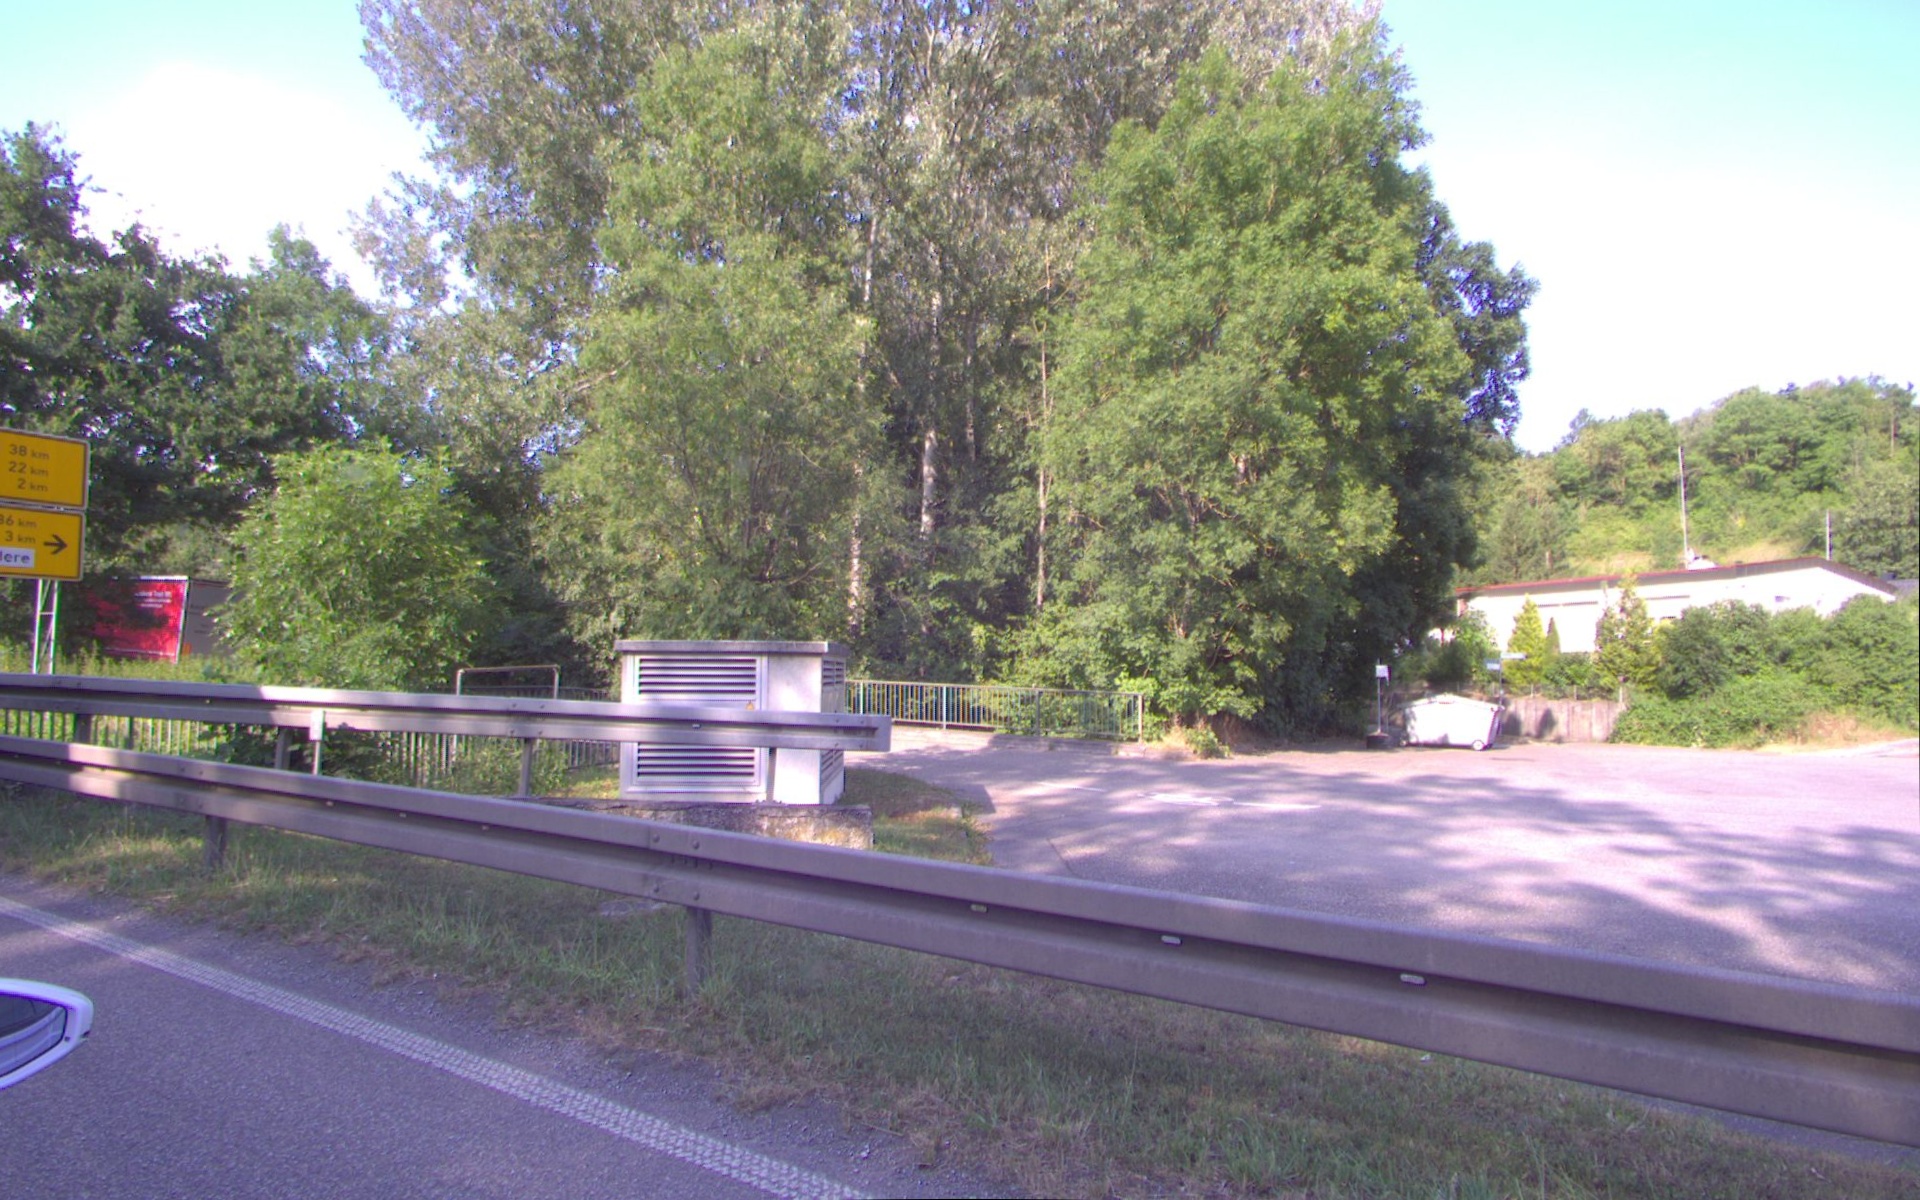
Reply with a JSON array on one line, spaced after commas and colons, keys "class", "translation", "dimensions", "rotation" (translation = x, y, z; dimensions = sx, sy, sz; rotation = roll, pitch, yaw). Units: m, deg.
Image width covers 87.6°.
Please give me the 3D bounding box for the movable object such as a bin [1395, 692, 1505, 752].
[{"class": "movable object such as a bin", "translation": [13.056, 3.238, 26.702], "dimensions": [2.521, 1.436, 1.265], "rotation": [-1, -6, 32]}]
